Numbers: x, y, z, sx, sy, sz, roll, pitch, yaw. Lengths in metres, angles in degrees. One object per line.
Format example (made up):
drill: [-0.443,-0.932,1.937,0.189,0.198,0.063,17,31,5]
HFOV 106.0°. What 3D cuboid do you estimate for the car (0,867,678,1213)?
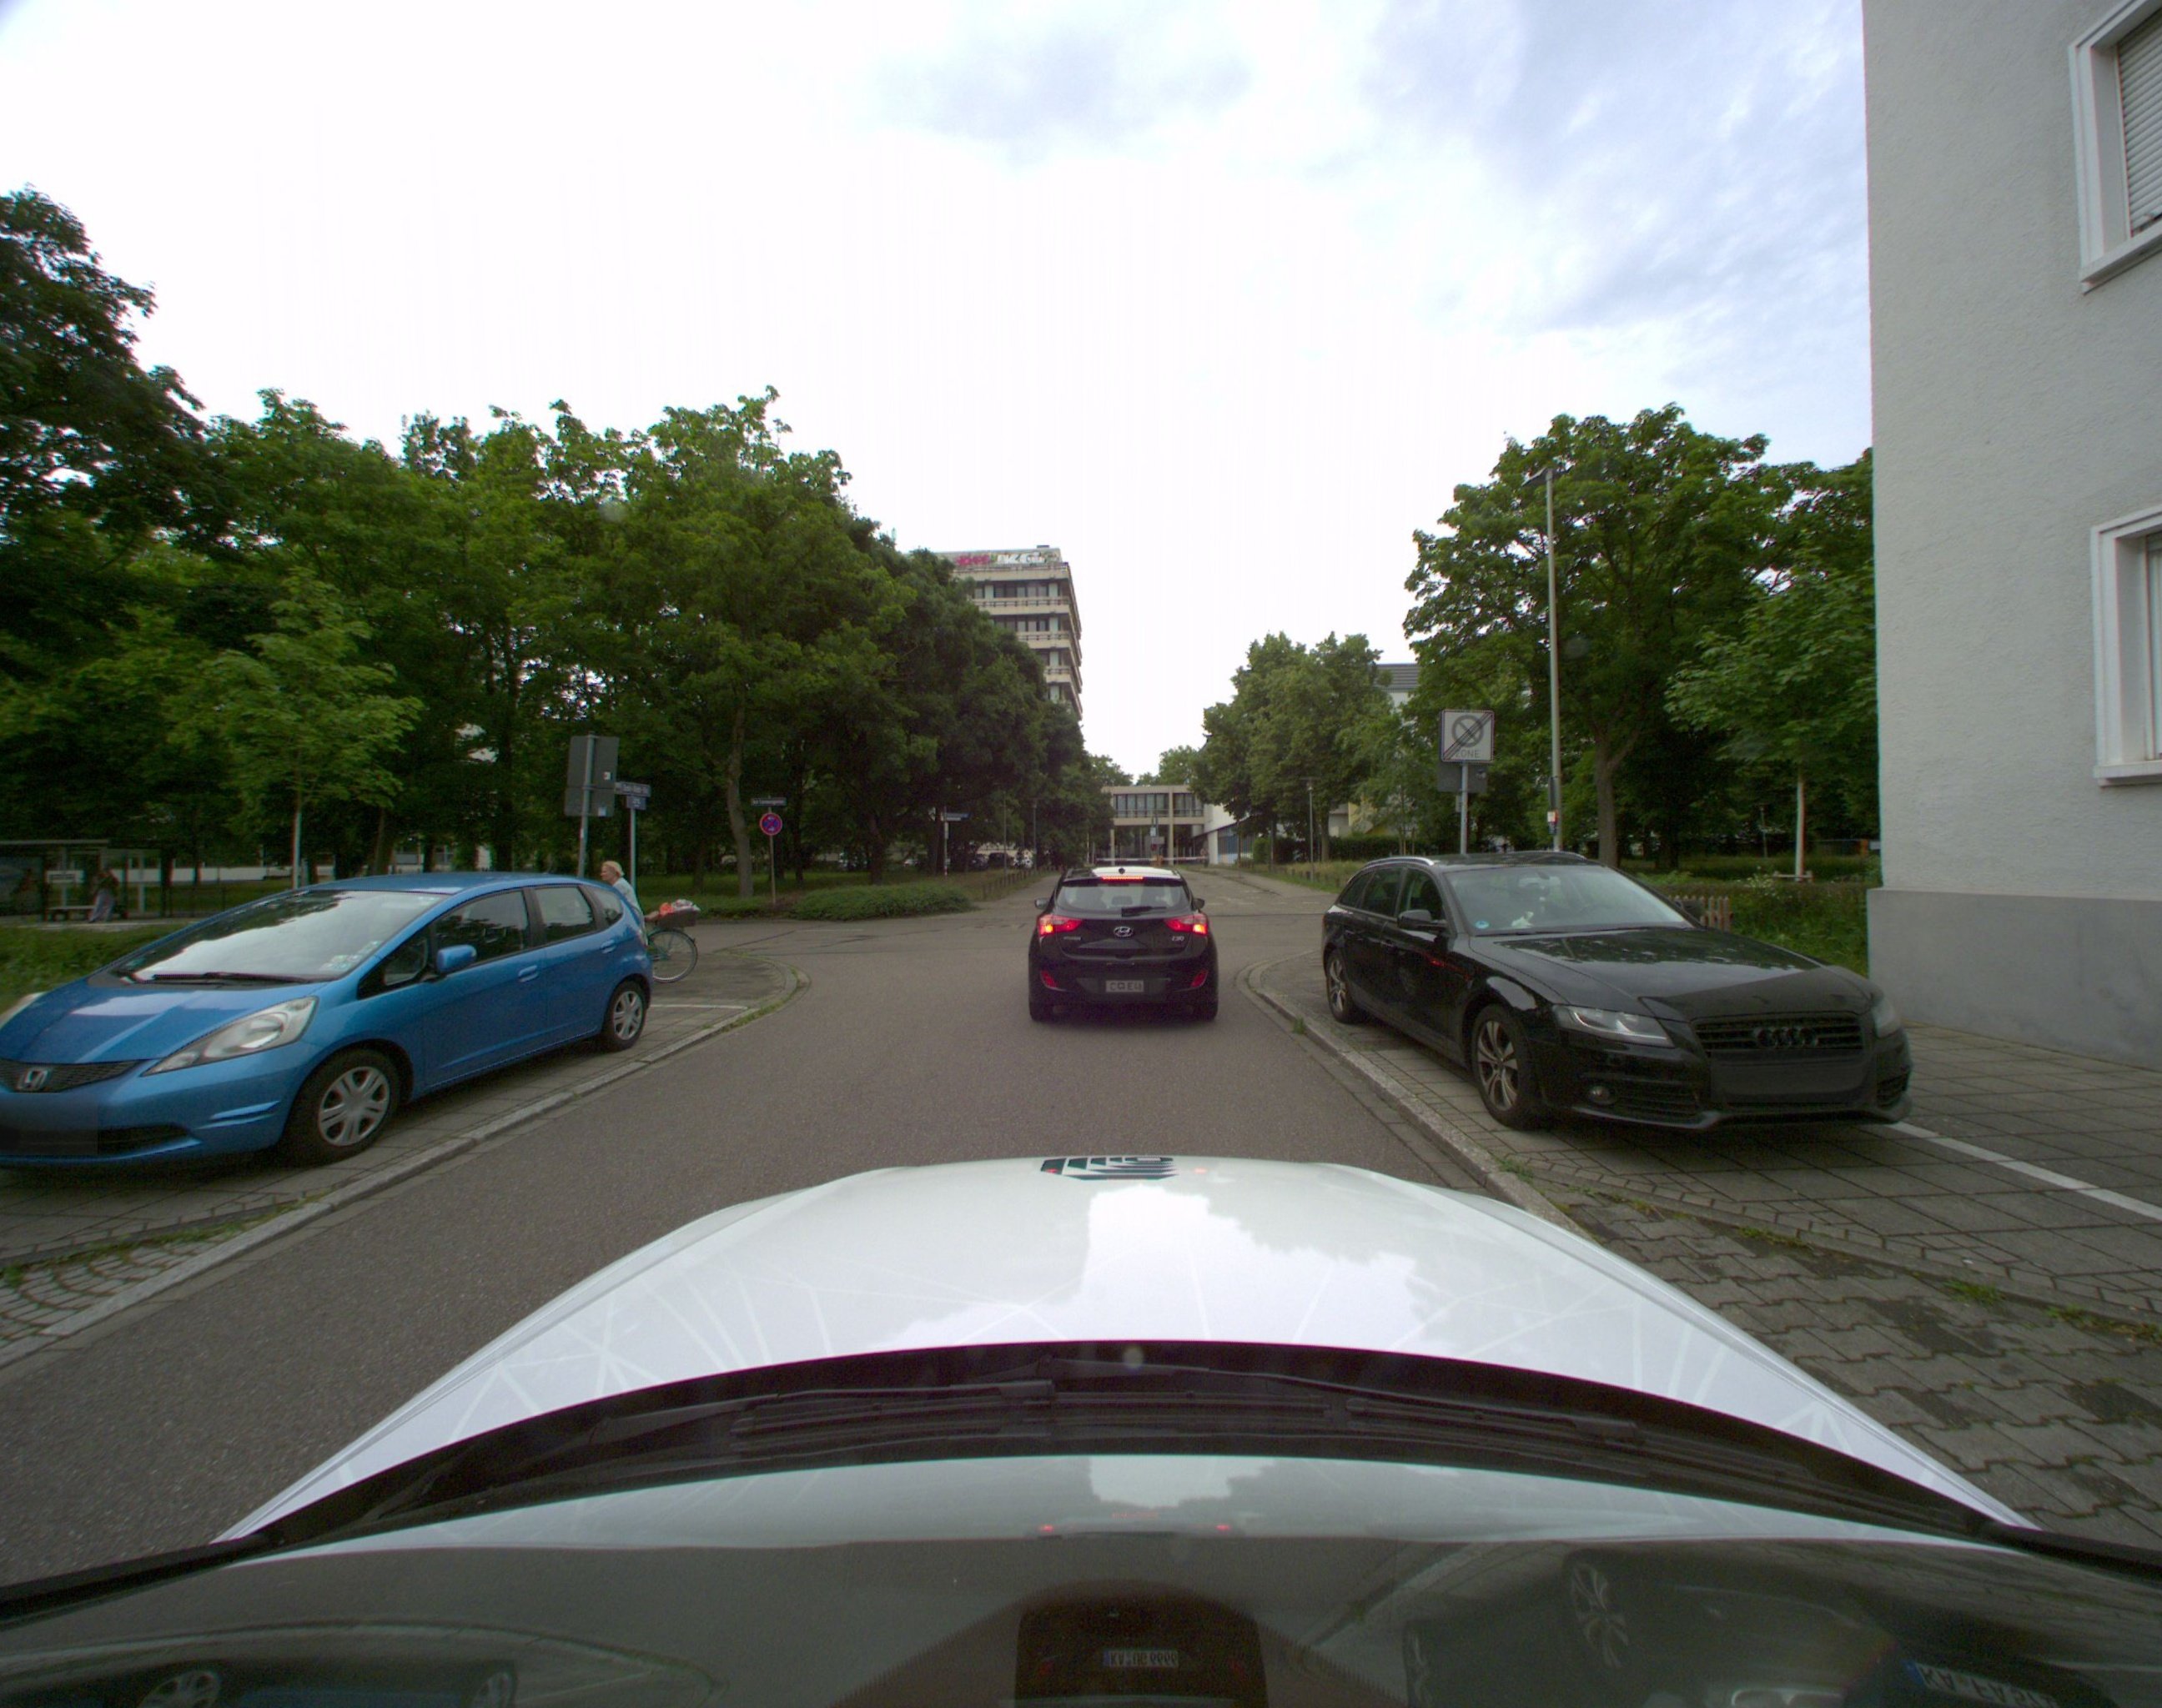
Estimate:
car: [-4.697,0.866,5.652,1.724,1.462,3.958,1,0,1]

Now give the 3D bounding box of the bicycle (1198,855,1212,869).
bicycle: [10.191,0.647,66.950,0.863,1.074,2.143,-1,0,3]

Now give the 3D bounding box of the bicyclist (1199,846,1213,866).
bicyclist: [10.253,0.186,66.941,1.013,1.644,0.924,-1,0,2]

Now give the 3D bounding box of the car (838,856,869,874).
car: [-21.900,1.036,78.483,1.913,1.618,3.997,-1,0,-2]

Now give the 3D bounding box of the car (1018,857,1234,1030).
car: [0.377,0.787,8.906,1.840,1.462,3.826,-1,-1,-1]

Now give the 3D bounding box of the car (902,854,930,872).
car: [-15.739,0.859,77.817,1.988,1.618,3.997,-1,0,-2]

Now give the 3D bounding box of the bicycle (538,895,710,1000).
bicycle: [-5.694,1.119,10.203,1.825,1.119,0.532,-1,0,-34]

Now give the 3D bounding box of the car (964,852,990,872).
car: [-9.925,0.791,77.945,1.988,1.794,3.996,-1,-2,-2]

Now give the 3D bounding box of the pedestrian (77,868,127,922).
pedestrian: [-29.378,1.218,24.441,0.693,1.583,0.656,-1,0,3]

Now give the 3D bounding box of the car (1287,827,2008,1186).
car: [3.024,0.653,5.843,1.854,1.462,4.724,-2,0,0]

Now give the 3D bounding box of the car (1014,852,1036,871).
car: [-5.346,0.738,77.903,1.988,1.762,3.996,-1,-1,-2]

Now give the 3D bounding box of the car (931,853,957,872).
car: [-13.031,0.823,77.687,1.988,1.728,3.996,-1,-2,-2]

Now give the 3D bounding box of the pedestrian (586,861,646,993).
pedestrian: [-5.685,0.863,9.951,0.570,1.550,0.443,-1,0,-36]
